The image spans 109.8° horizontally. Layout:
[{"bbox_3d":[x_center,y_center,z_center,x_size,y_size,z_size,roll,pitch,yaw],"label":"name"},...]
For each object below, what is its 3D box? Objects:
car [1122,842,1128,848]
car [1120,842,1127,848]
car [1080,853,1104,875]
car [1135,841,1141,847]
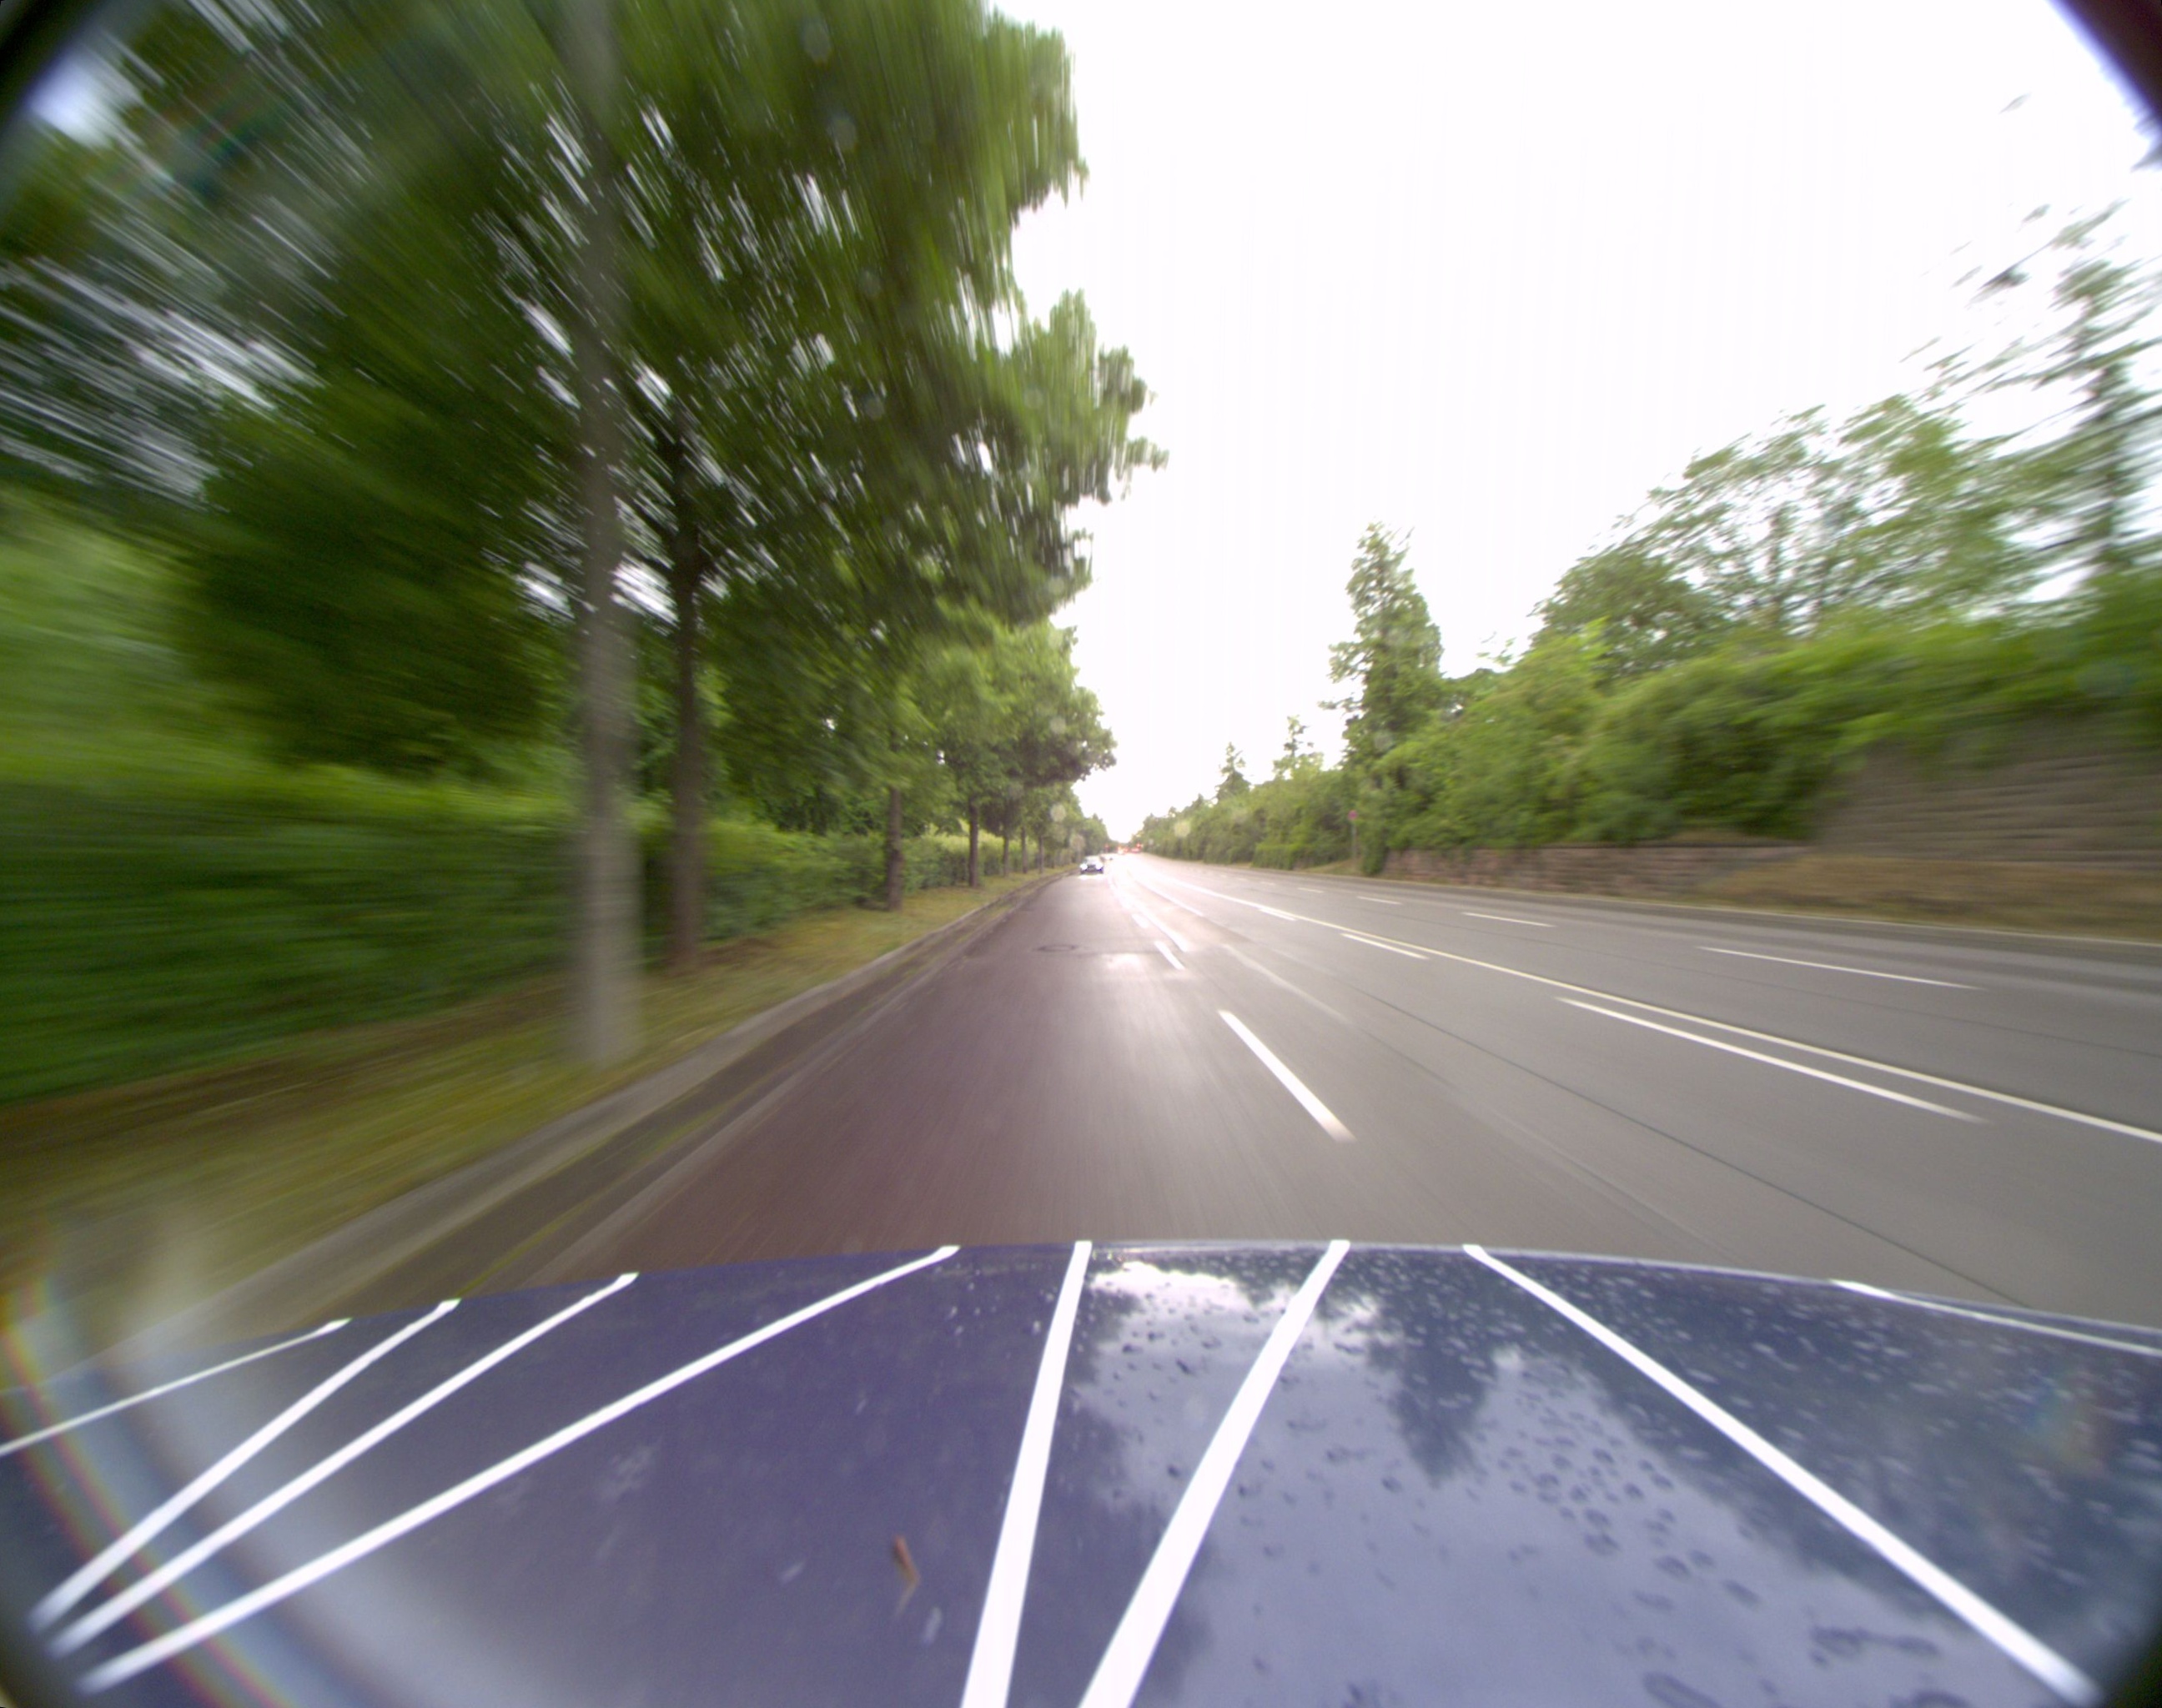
[{"bbox_3d":[13.587,-2.746,234.743,1.930,1.805,3.999,-2,1,1],"label":"car"},{"bbox_3d":[13.647,-2.923,243.850,1.930,1.805,3.999,-2,1,1],"label":"car"},{"bbox_3d":[0.901,0.738,60.080,1.824,1.547,3.999,-2,1,1],"label":"car"},{"bbox_3d":[19.662,-3.360,260.992,1.930,1.805,3.999,-2,1,1],"label":"car"}]
